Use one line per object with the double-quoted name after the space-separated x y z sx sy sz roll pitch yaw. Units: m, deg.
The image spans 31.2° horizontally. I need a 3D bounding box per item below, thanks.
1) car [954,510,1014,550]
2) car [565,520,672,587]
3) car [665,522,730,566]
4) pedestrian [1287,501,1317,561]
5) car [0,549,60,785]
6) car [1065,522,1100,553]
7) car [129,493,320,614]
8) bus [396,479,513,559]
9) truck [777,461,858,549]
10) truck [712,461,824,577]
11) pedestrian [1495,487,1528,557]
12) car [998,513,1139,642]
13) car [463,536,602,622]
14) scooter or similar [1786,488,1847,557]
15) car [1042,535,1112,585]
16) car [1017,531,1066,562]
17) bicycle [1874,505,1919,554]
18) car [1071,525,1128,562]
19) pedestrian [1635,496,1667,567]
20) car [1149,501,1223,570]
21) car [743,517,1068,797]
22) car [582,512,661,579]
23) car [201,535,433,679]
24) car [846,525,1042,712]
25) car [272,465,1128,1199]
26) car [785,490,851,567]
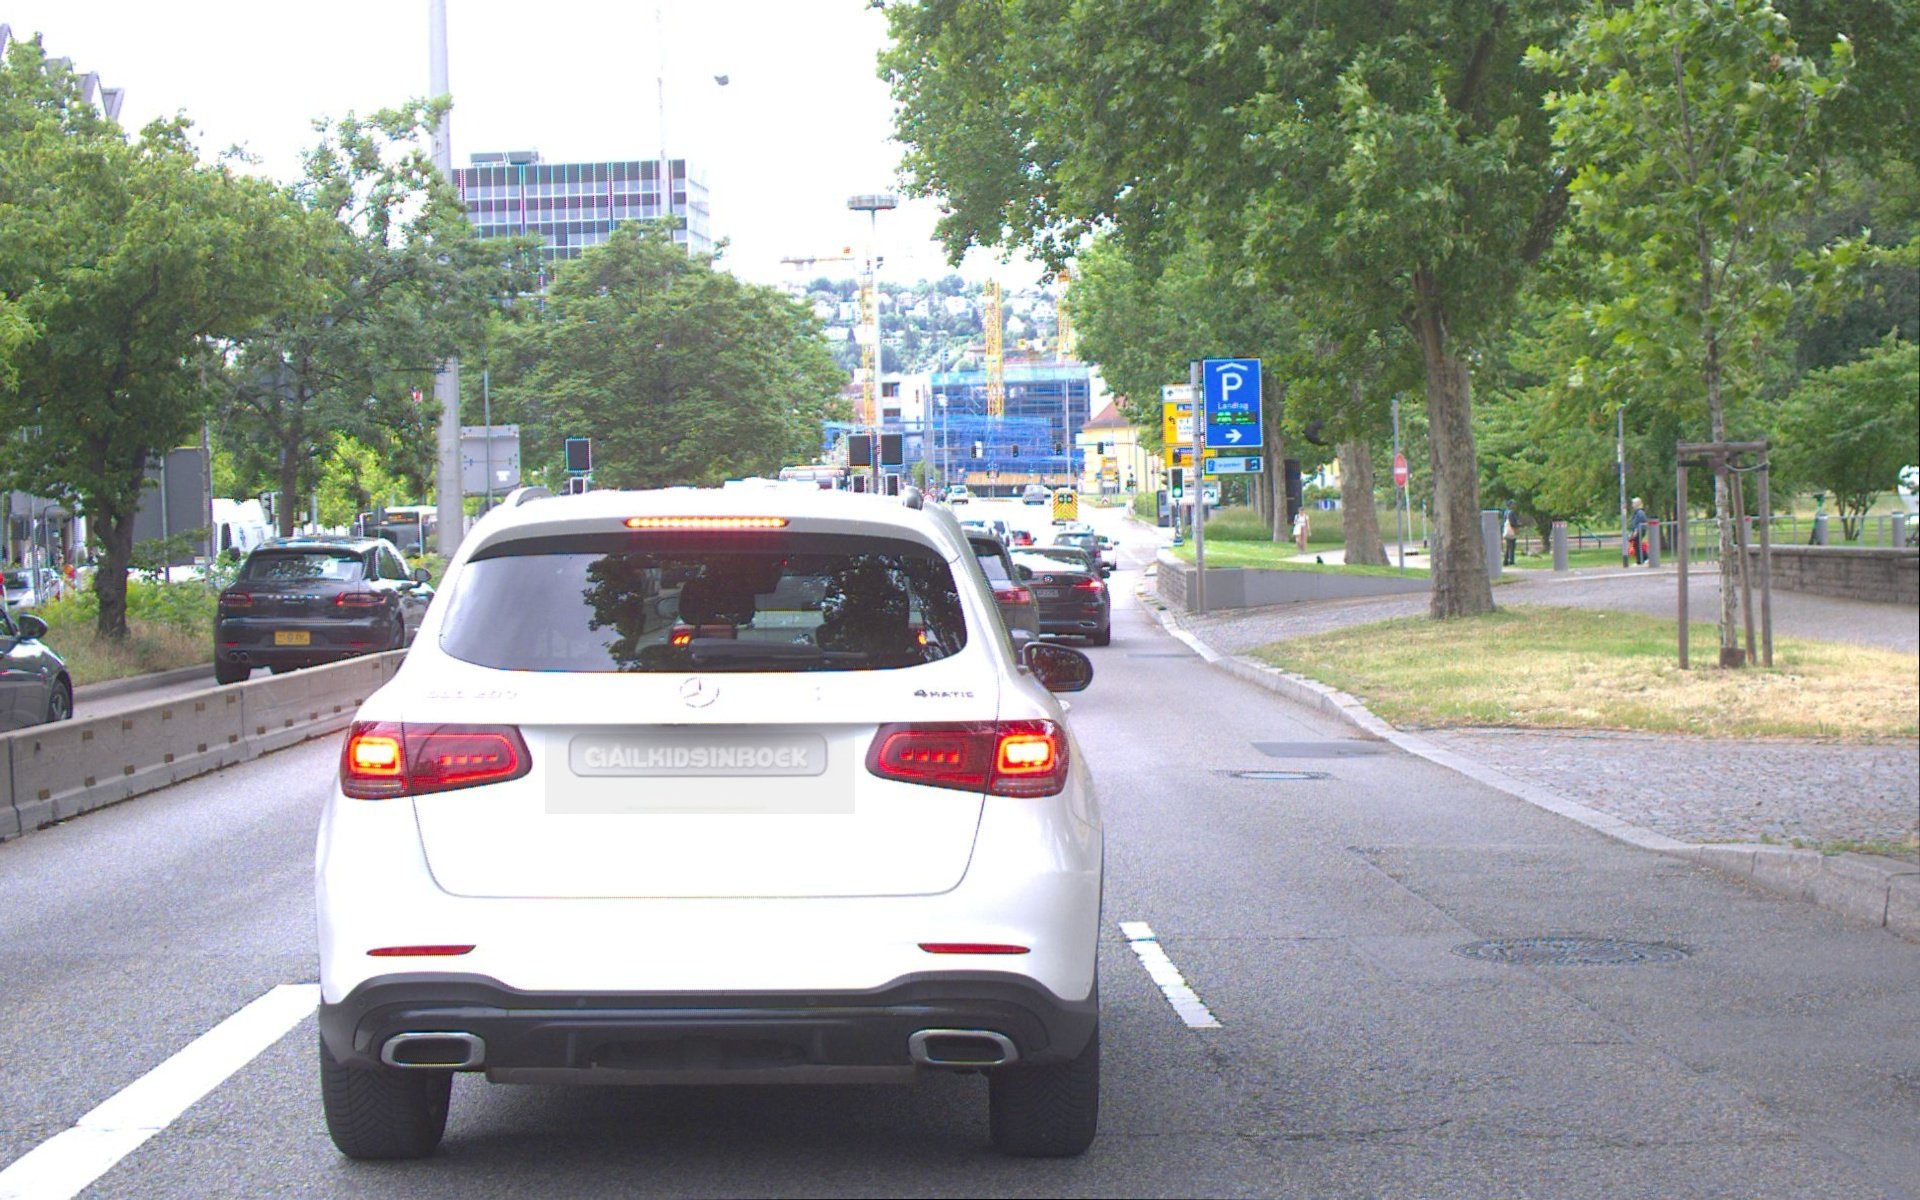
0.817 -2.319 114.140 1.947 1.315 4.017 0 1 1 "car"
-6.900 -0.947 69.796 1.659 1.315 3.547 0 1 3 "car"
-8.063 -1.723 105.864 1.659 1.315 3.547 0 1 1 "car"
11.681 -2.353 117.424 0.761 2.007 0.697 0 1 36 "pedestrian"
-6.666 0.419 20.368 1.661 1.431 3.961 0 1 -1 "car"
6.685 -3.427 187.560 1.758 1.663 4.168 -1 1 0 "car"
-12.762 -0.835 59.988 2.115 1.962 5.579 -1 1 0 "car"
-21.585 -3.456 147.638 3.667 3.194 14.276 -1 1 -3 "bus"
-4.974 -3.308 120.780 2.691 2.981 5.638 1 1 -1 "truck"
-4.886 -2.085 88.552 2.621 2.851 7.079 0 1 -1 "truck"
13.711 -1.928 85.426 0.759 1.719 0.699 -1 1 8 "pedestrian"
1.530 -0.361 49.754 1.825 1.746 4.000 -1 1 -1 "car"
-6.792 -0.346 54.891 1.659 1.315 3.547 1 1 2 "car"
15.960 -1.433 64.078 0.636 1.241 2.225 1 1 2 "scooter or similar"
3.409 -1.174 100.619 1.947 1.423 4.017 0 1 1 "car"
3.474 -2.263 145.257 1.947 1.315 4.016 0 1 3 "car"
19.623 -1.432 70.545 0.954 0.972 2.787 1 1 -1 "bicycle"
5.017 -2.044 123.767 1.947 1.315 4.017 0 1 1 "car"
15.794 -1.572 78.604 0.638 1.605 0.663 -1 1 8 "pedestrian"
6.704 -1.927 102.450 1.993 2.007 4.000 0 1 1 "car"
-0.432 0.296 21.770 1.795 1.603 3.755 0 1 -5 "car"
-7.908 -1.286 80.532 1.659 1.508 3.548 -1 1 -3 "car"
-6.956 0.039 37.541 1.776 1.415 4.000 -1 2 0 "car"
-0.202 0.133 32.109 1.659 1.633 3.548 0 1 -3 "car"
-0.759 0.488 9.581 1.787 1.619 4.438 -2 2 -6 "car"
-4.673 -2.359 113.844 1.993 2.467 4.000 -1 1 0 "car"
